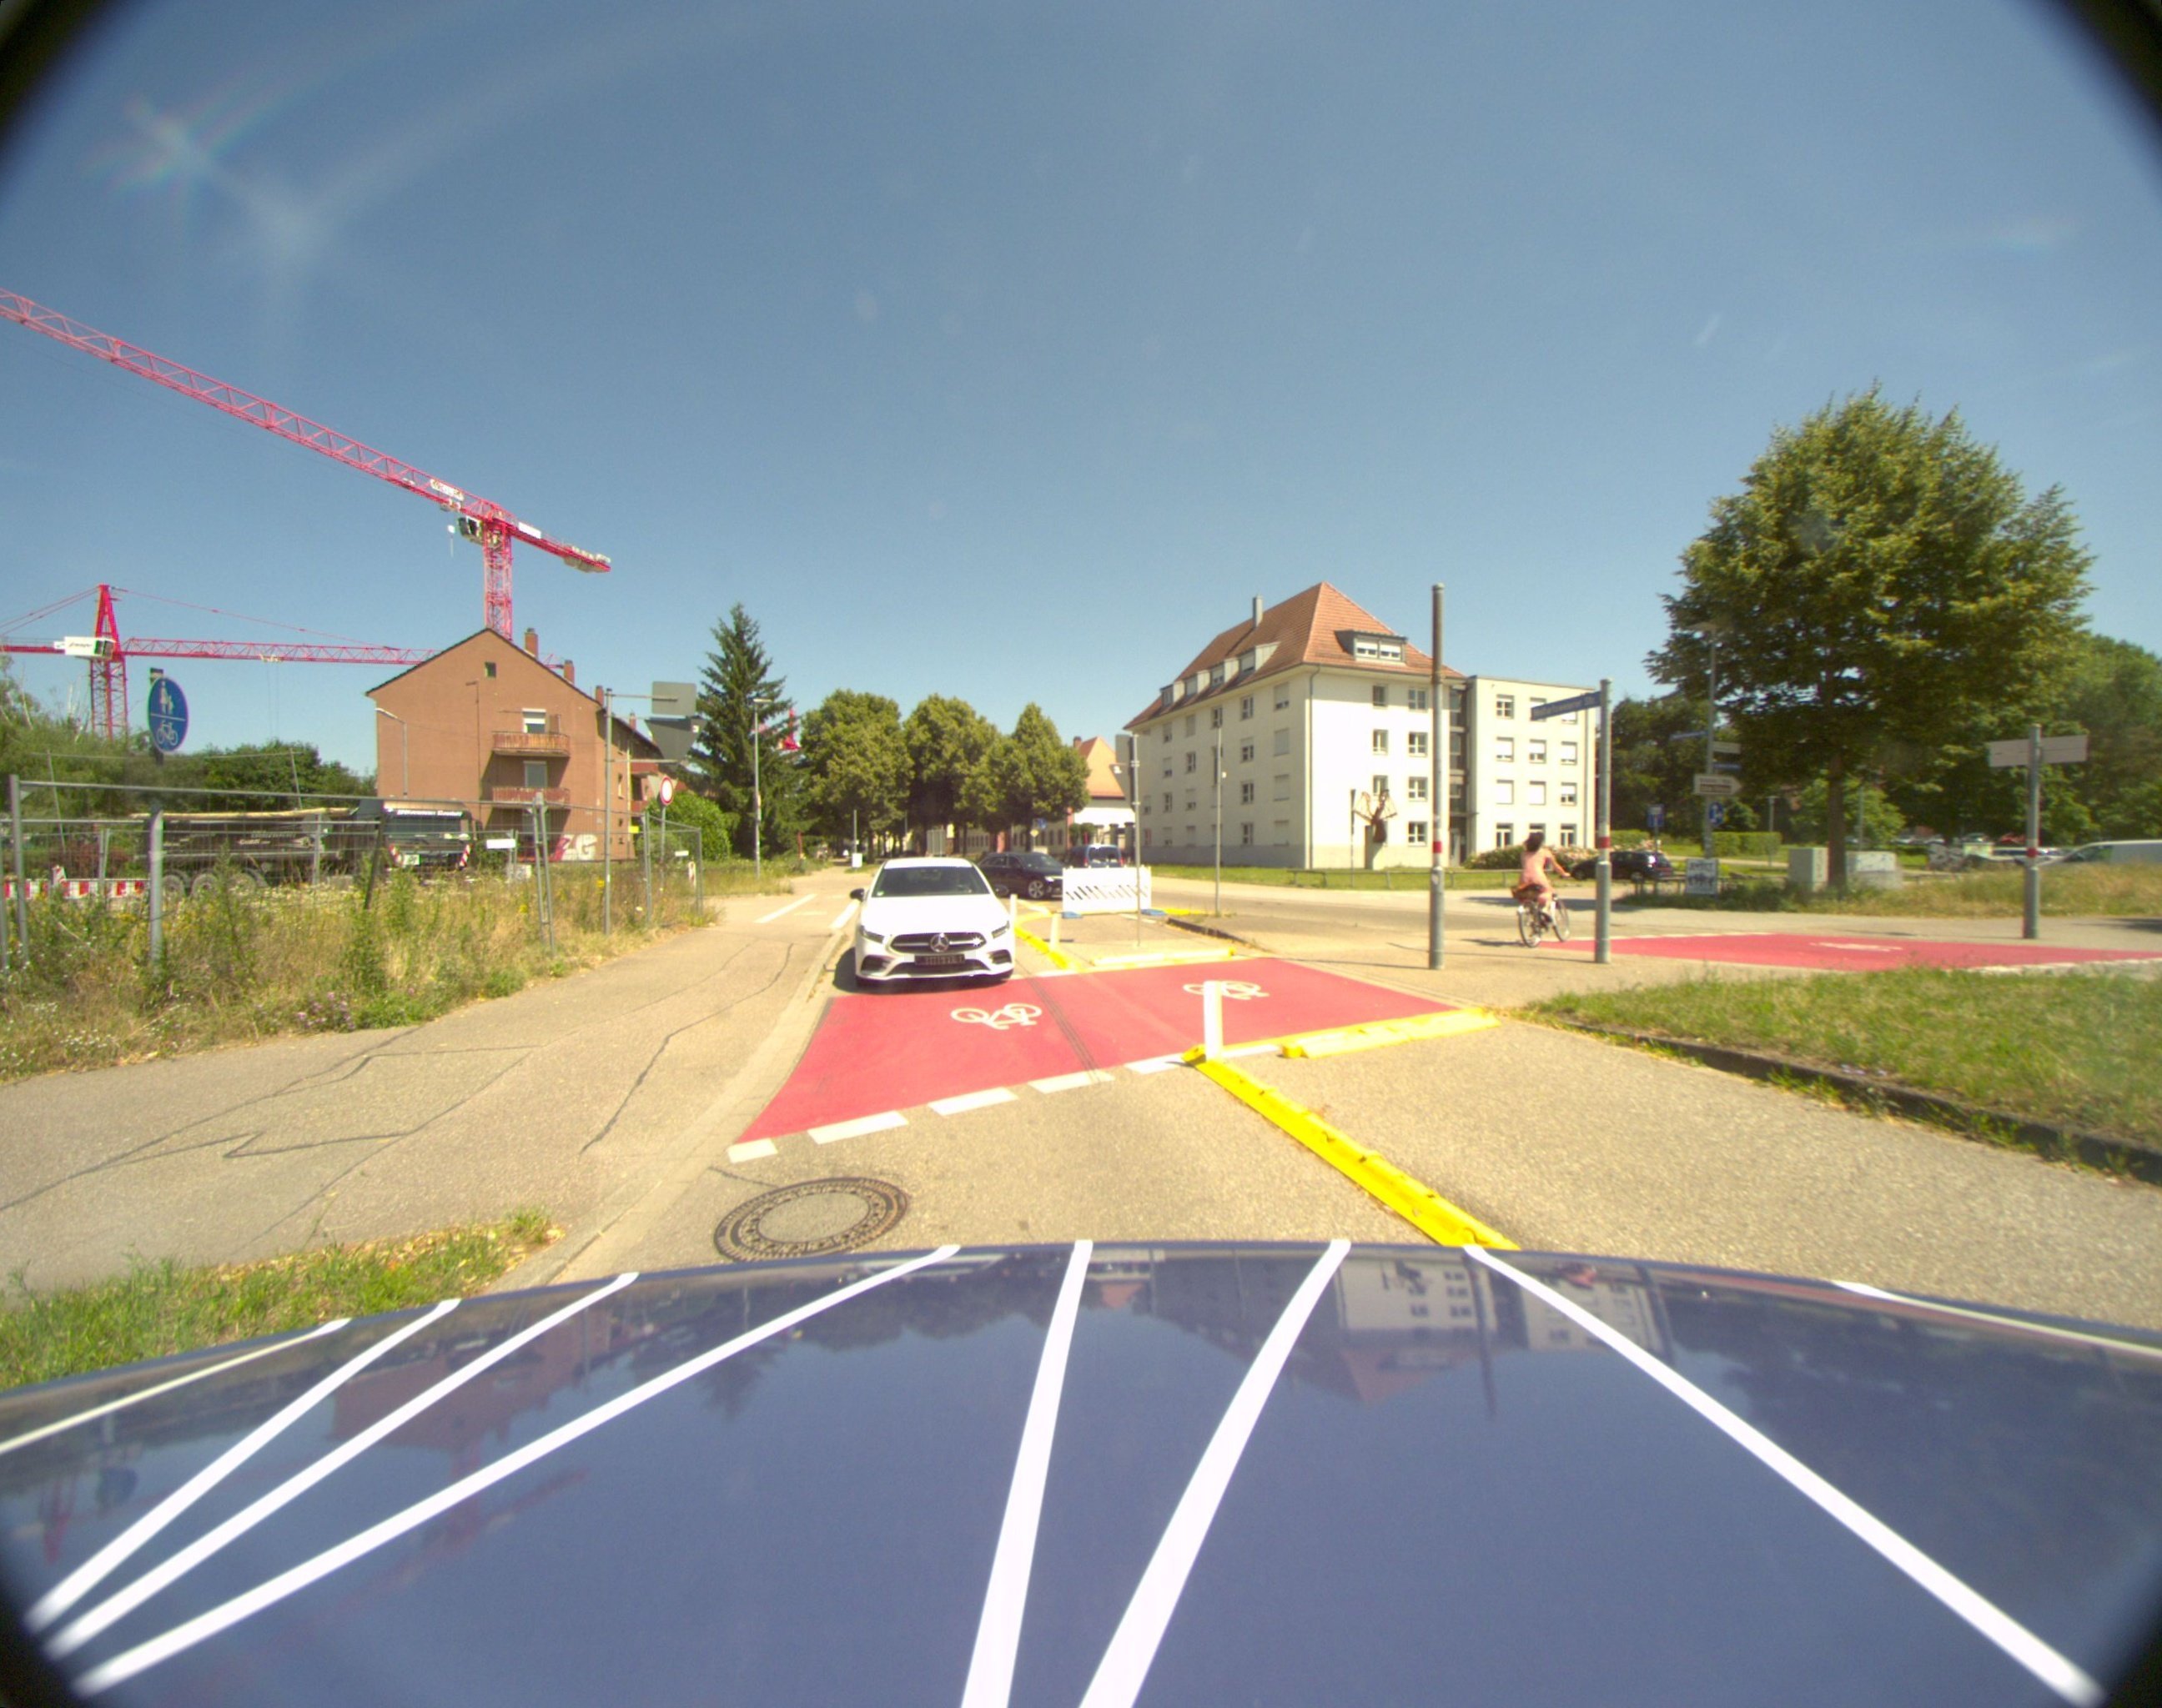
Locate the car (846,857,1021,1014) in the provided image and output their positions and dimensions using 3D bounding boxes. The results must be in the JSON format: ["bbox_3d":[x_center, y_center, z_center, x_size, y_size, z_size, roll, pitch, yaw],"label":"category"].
[{"bbox_3d":[-1.945,0.841,9.864,1.782,1.536,3.958,0,1,-13],"label":"car"}]

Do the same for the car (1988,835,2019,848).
[{"bbox_3d":[105.518,-1.405,86.930,3.031,1.408,1.476,-1,1,-24],"label":"car"}]

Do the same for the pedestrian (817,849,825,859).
[{"bbox_3d":[-36.464,-0.007,106.517,1.025,1.509,0.681,-1,1,-14],"label":"pedestrian"}]

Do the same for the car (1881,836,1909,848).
[{"bbox_3d":[101.873,-1.484,95.111,3.031,1.408,1.476,-1,1,-24],"label":"car"}]

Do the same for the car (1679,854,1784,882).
[{"bbox_3d":[30.221,0.616,35.440,1.358,1.210,3.507,-1,1,-19],"label":"car"}]

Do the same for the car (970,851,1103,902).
[{"bbox_3d":[-1.509,0.652,24.133,1.805,1.443,4.605,-2,1,-40],"label":"car"}]

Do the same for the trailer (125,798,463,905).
[{"bbox_3d":[-27.403,-0.072,26.733,8.982,3.512,3.165,0,1,4],"label":"trailer"}]

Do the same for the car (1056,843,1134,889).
[{"bbox_3d":[0.475,0.482,31.219,1.691,1.759,4.197,0,0,-22],"label":"car"}]

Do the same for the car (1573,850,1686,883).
[{"bbox_3d":[24.259,0.515,33.779,1.661,1.319,3.801,0,1,-19],"label":"car"}]

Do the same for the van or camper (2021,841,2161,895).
[{"bbox_3d":[37.511,0.465,26.704,2.002,1.847,5.263,-1,1,-20],"label":"van or camper"}]

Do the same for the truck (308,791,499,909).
[{"bbox_3d":[-22.448,-0.123,25.223,4.951,3.512,3.170,0,1,28],"label":"truck"}]

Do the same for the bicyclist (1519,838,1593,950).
[{"bbox_3d":[7.266,0.591,11.628,0.711,1.654,0.645,1,1,-25],"label":"bicyclist"}]

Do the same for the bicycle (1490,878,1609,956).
[{"bbox_3d":[7.084,0.918,11.462,2.091,1.052,0.438,-1,2,-25],"label":"bicycle"}]

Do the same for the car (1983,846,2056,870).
[{"bbox_3d":[56.350,0.221,45.682,1.084,1.350,2.526,-1,1,-13],"label":"car"}]
